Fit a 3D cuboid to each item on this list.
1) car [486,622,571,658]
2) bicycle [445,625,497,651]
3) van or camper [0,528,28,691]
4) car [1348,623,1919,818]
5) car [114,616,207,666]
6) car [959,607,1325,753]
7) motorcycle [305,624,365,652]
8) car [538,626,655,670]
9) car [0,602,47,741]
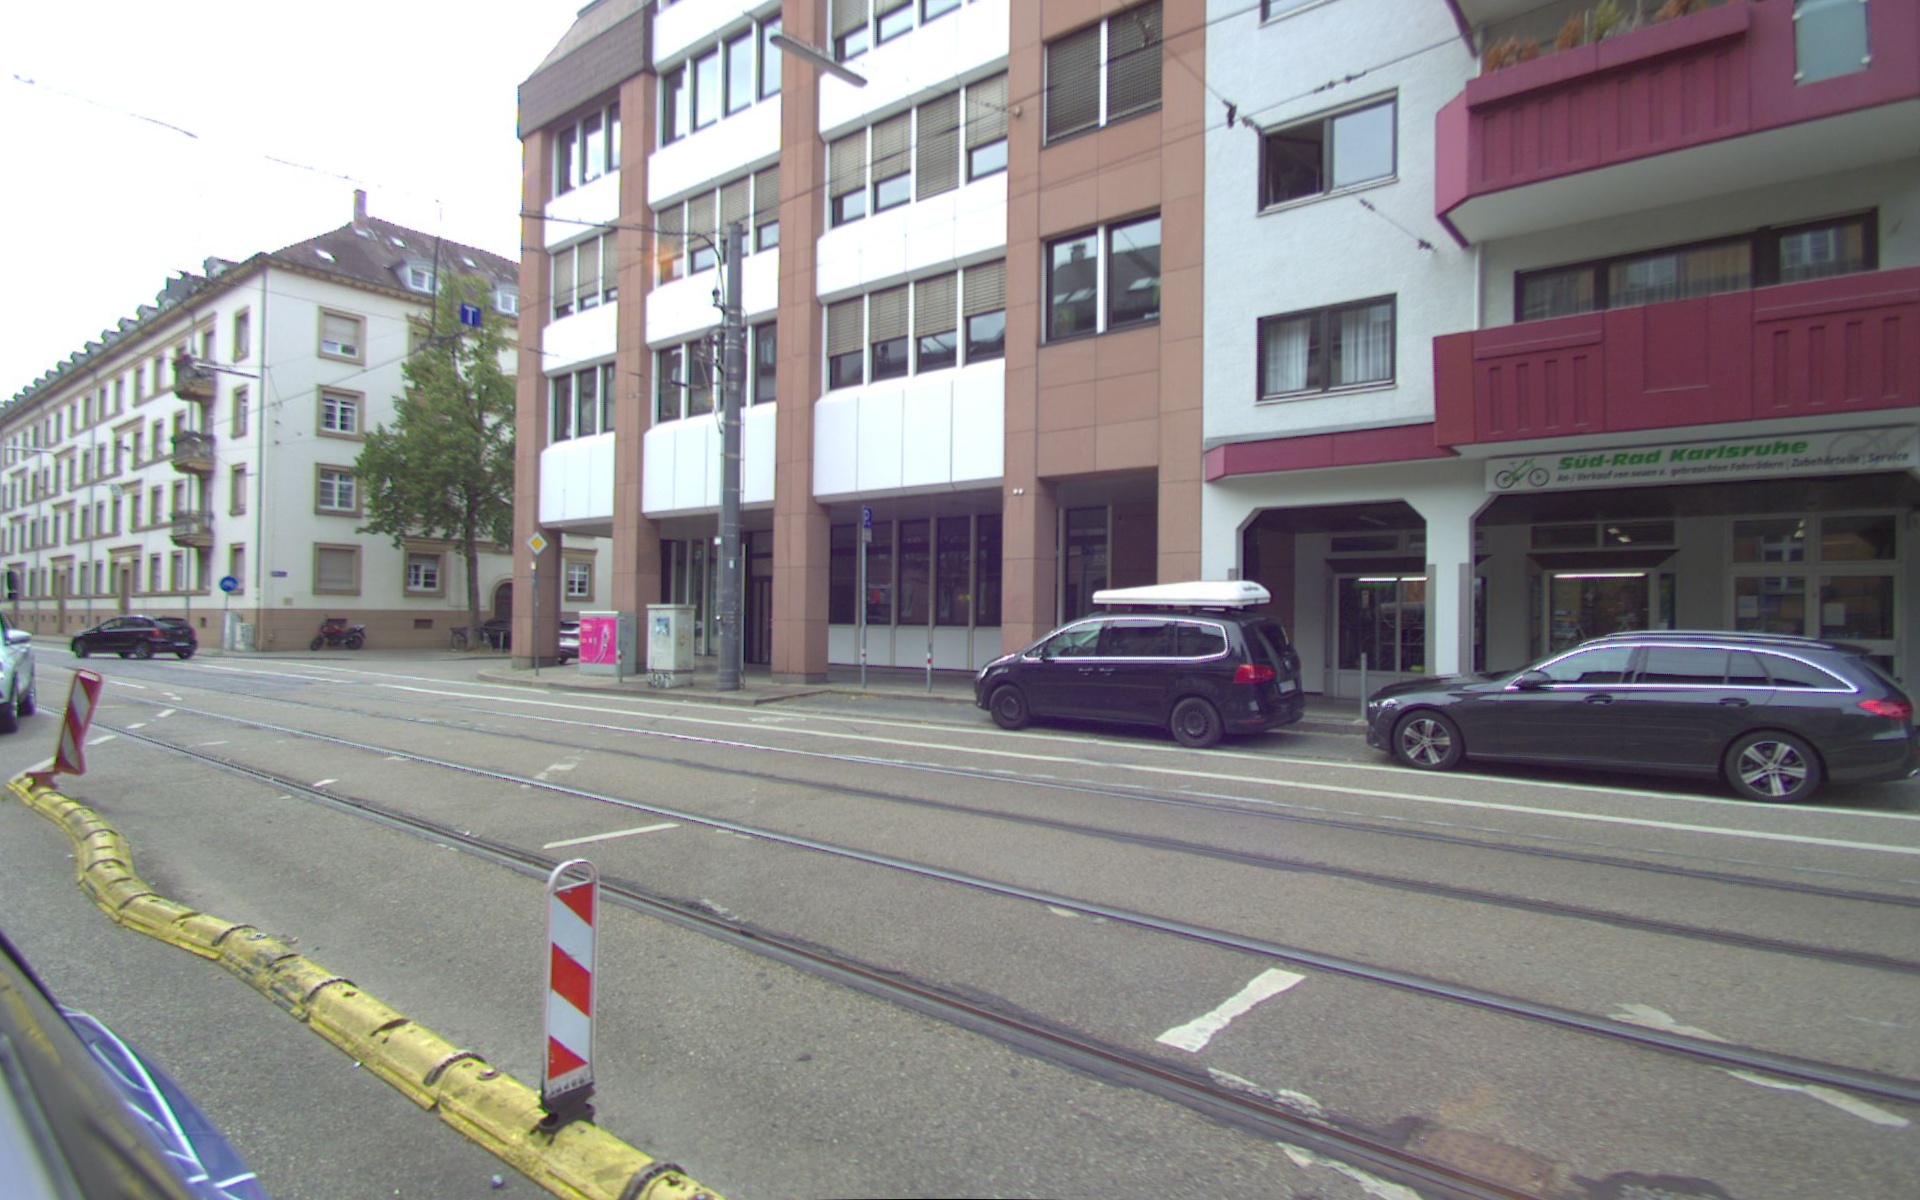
[{"bbox_3d":[-18.066,1.641,42.298,3.869,1.407,1.591,-1,-2,38],"label":"car"},{"bbox_3d":[-21.790,1.687,45.098,0.792,1.094,1.900,-1,-2,39],"label":"bicycle"},{"bbox_3d":[-24.589,0.228,23.755,9.642,3.447,2.575,-1,-2,39],"label":"van or camper"},{"bbox_3d":[6.577,1.016,10.173,4.694,1.491,1.737,-1,0,40],"label":"car"},{"bbox_3d":[-27.155,1.345,34.319,4.046,1.549,1.751,-1,-1,41],"label":"car"},{"bbox_3d":[2.354,0.959,13.927,4.694,1.659,1.789,-1,0,40],"label":"car"},{"bbox_3d":[-25.150,1.517,40.736,0.792,1.094,1.900,-1,-2,39],"label":"motorcycle"},{"bbox_3d":[-12.405,1.617,34.728,1.606,1.399,3.611,0,-2,30],"label":"car"},{"bbox_3d":[-13.055,0.849,12.910,1.746,1.603,4.291,0,-1,-38],"label":"car"}]
